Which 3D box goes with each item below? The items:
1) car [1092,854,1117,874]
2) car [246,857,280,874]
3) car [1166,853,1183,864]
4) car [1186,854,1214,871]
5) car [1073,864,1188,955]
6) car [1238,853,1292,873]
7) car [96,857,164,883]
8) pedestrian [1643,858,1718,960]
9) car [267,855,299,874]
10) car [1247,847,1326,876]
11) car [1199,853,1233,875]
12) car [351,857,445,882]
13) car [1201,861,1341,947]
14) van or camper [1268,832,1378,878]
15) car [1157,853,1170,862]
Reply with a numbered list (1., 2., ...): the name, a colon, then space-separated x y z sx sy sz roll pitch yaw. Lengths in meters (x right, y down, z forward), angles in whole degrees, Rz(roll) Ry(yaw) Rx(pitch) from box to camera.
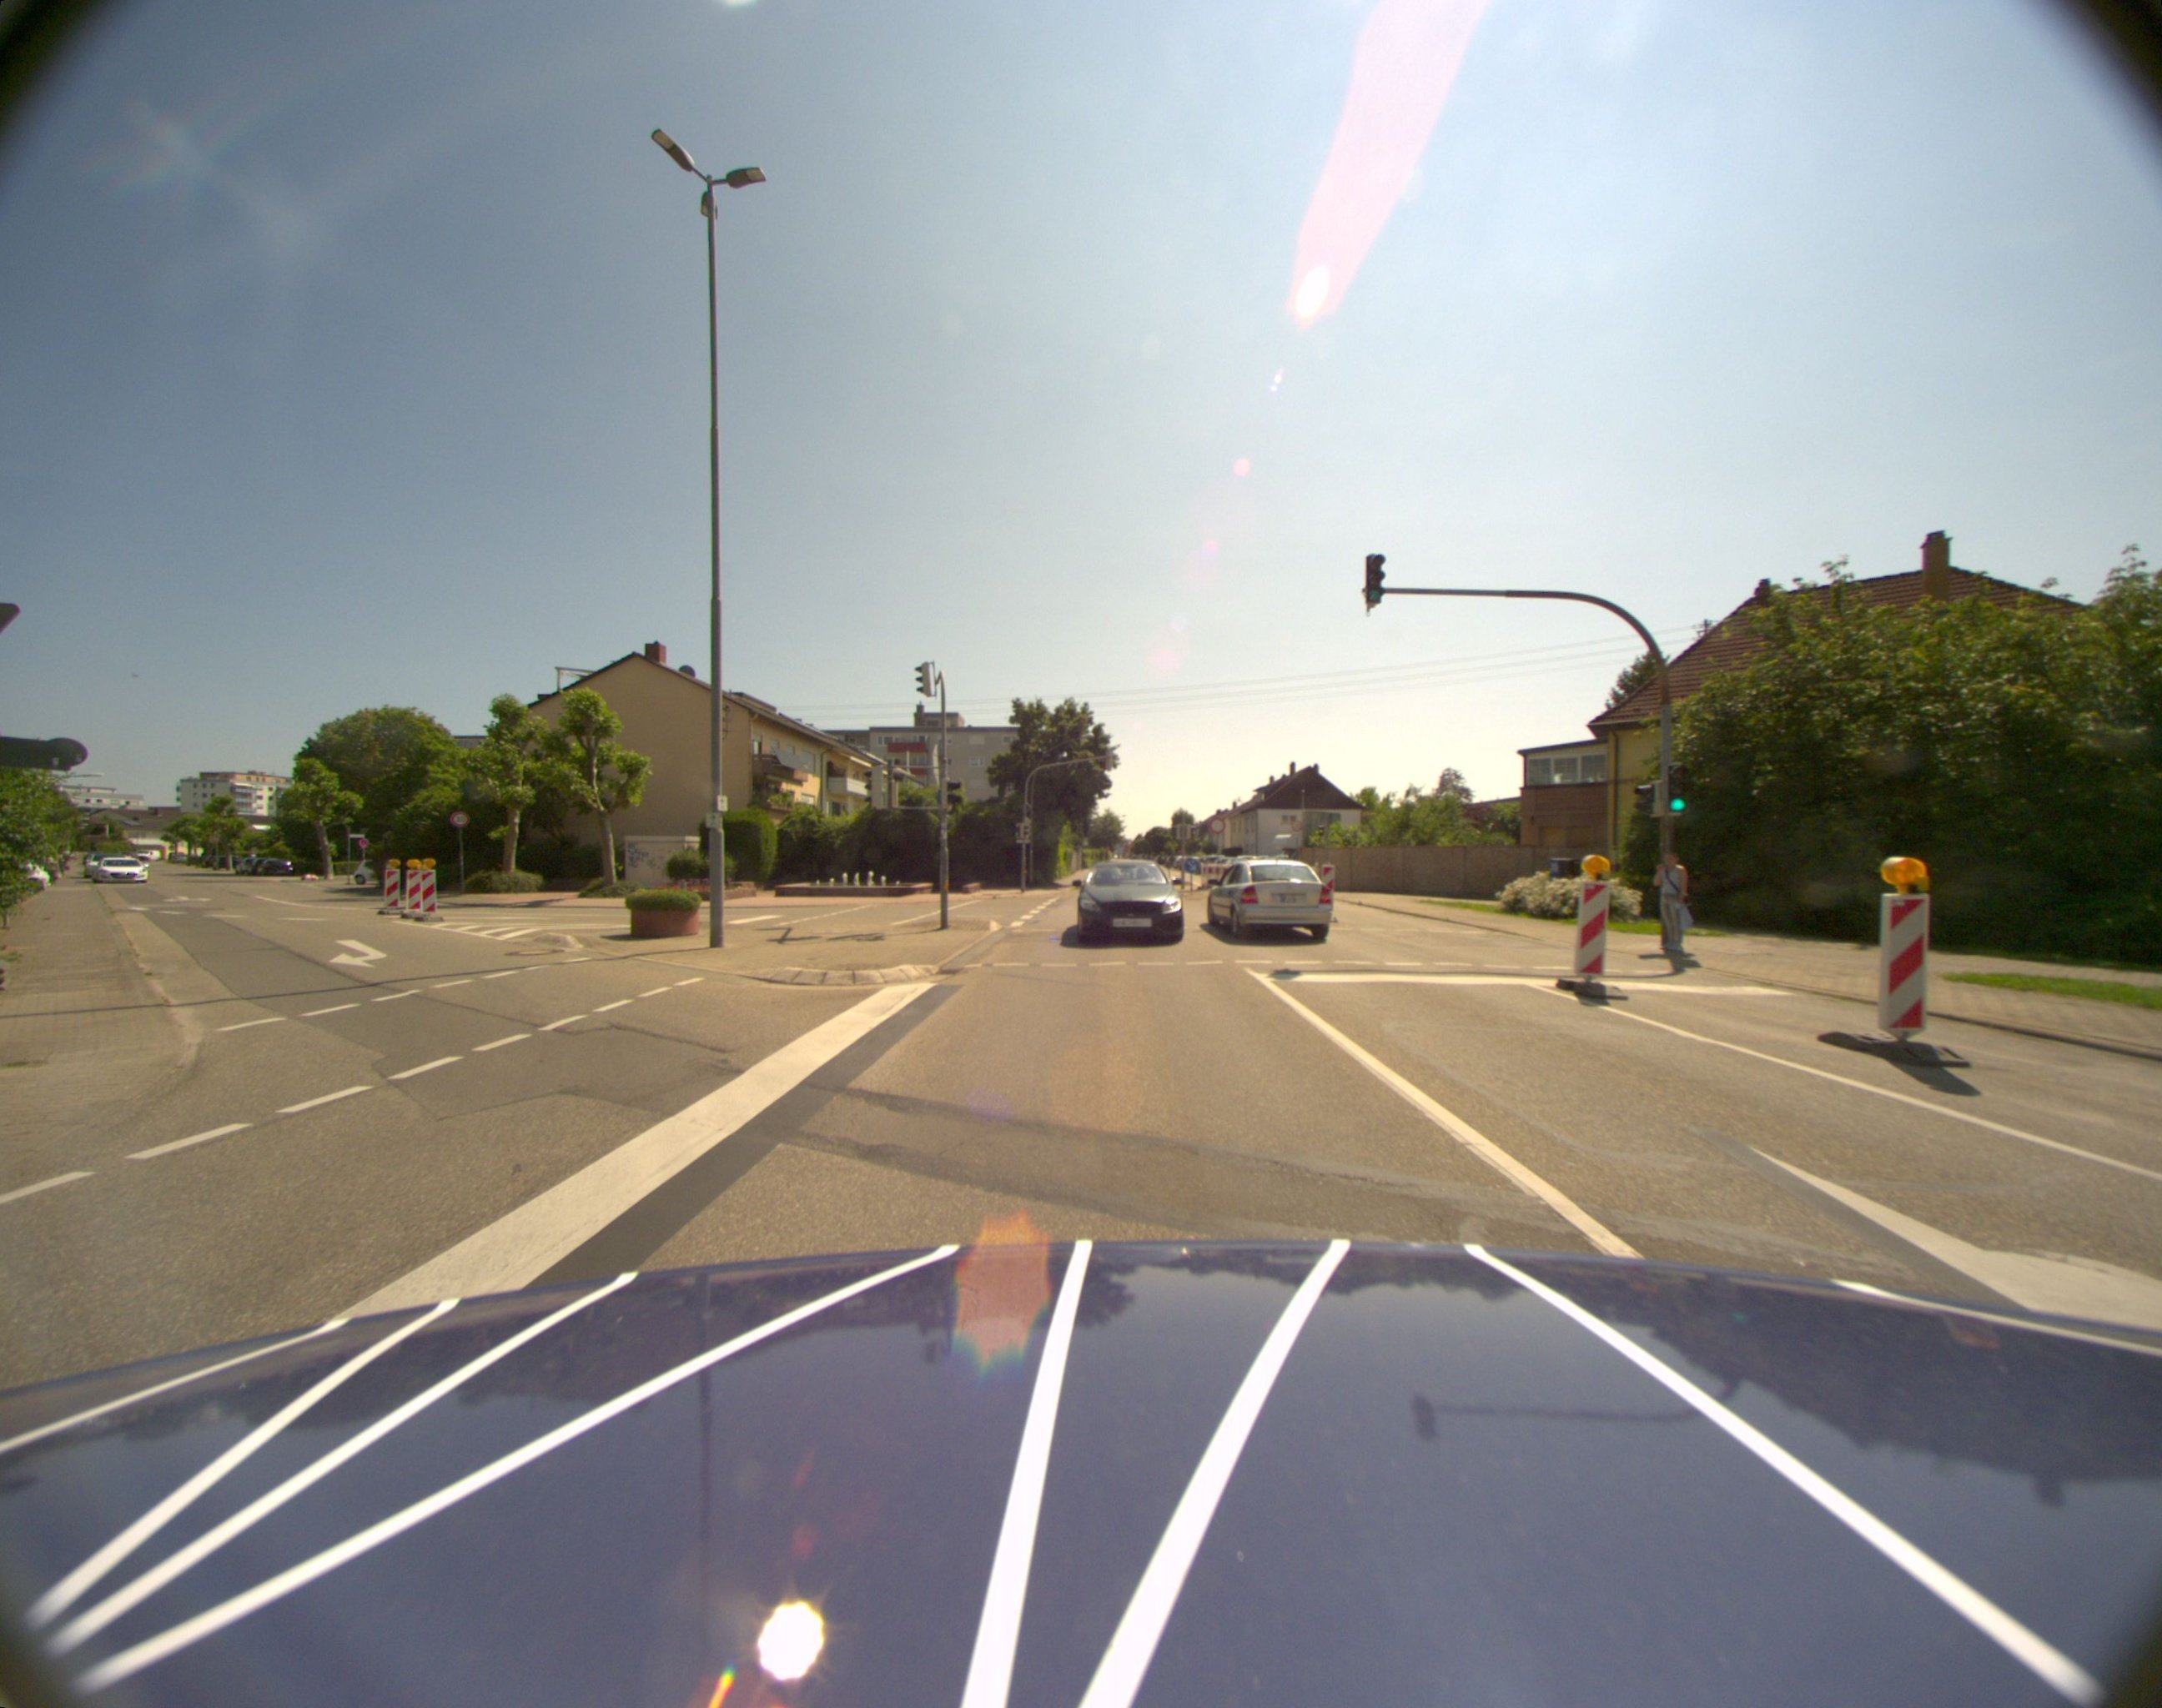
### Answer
1. car: 1.937 0.814 63.487 1.872 1.585 4.616 0 0 0
2. car: -72.394 1.028 67.296 3.988 1.412 2.004 0 0 44
3. car: 12.428 0.575 101.389 1.739 1.504 3.916 0 0 0
4. car: 11.190 0.793 71.723 1.863 1.538 4.545 2 0 0
5. car: 0.911 0.954 15.097 1.889 1.429 4.839 -1 0 2
6. car: 15.118 0.766 62.478 3.999 1.607 1.768 0 0 -4
7. car: -55.685 0.883 44.478 3.989 1.412 2.004 0 0 31
8. pedestrian: 9.763 0.877 12.393 0.615 1.598 0.688 -3 0 2
9. car: -64.488 0.841 61.412 3.988 1.412 1.719 1 0 44
10. car: 15.161 0.534 56.131 5.179 2.075 2.211 0 0 -5
11. car: 10.528 0.755 59.367 1.863 1.581 4.228 2 0 0
12. car: -41.855 0.958 46.640 3.997 1.455 1.944 1 0 0
13. car: 3.520 0.867 14.809 1.704 1.395 3.979 0 0 0
14. van or camper: 15.233 0.062 47.989 6.262 2.827 2.289 0 1 -7
15. car: 13.127 0.614 120.872 1.739 1.409 3.916 0 0 0
